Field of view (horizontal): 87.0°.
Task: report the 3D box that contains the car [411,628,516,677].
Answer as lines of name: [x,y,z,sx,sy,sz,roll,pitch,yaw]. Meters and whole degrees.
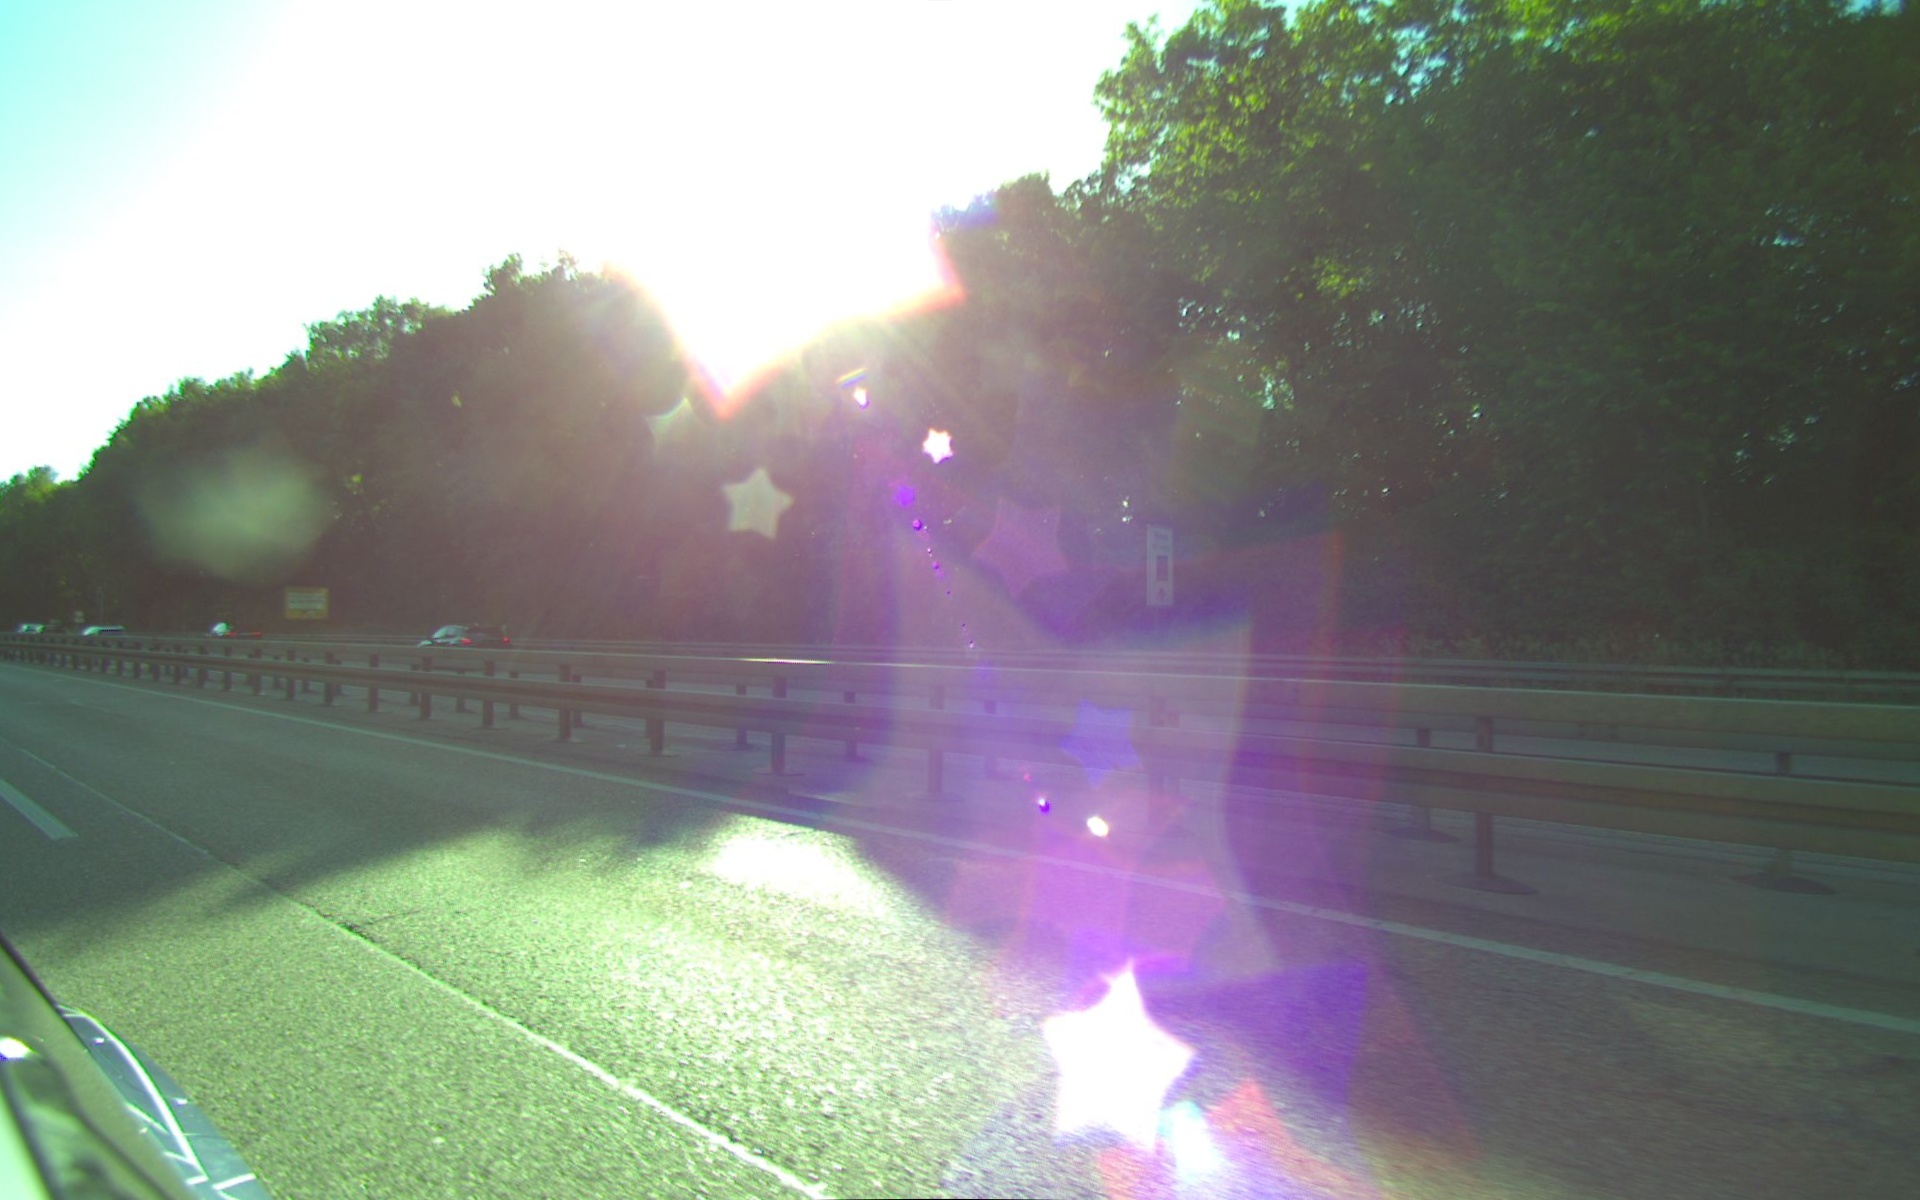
car: [-16.004,1.644,32.529,3.997,1.433,1.589,-1,-1,41]

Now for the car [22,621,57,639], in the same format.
car: [-88.144,2.876,96.879,4.788,1.635,1.972,-1,-3,42]

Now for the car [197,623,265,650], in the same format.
car: [-41.041,2.035,56.930,4.899,1.475,1.973,-1,-3,41]

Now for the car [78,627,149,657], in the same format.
car: [-43.021,2.126,51.394,4.737,1.475,1.973,-1,-3,41]

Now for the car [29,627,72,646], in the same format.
car: [-71.031,2.831,79.012,3.998,1.475,1.973,-1,-3,41]
